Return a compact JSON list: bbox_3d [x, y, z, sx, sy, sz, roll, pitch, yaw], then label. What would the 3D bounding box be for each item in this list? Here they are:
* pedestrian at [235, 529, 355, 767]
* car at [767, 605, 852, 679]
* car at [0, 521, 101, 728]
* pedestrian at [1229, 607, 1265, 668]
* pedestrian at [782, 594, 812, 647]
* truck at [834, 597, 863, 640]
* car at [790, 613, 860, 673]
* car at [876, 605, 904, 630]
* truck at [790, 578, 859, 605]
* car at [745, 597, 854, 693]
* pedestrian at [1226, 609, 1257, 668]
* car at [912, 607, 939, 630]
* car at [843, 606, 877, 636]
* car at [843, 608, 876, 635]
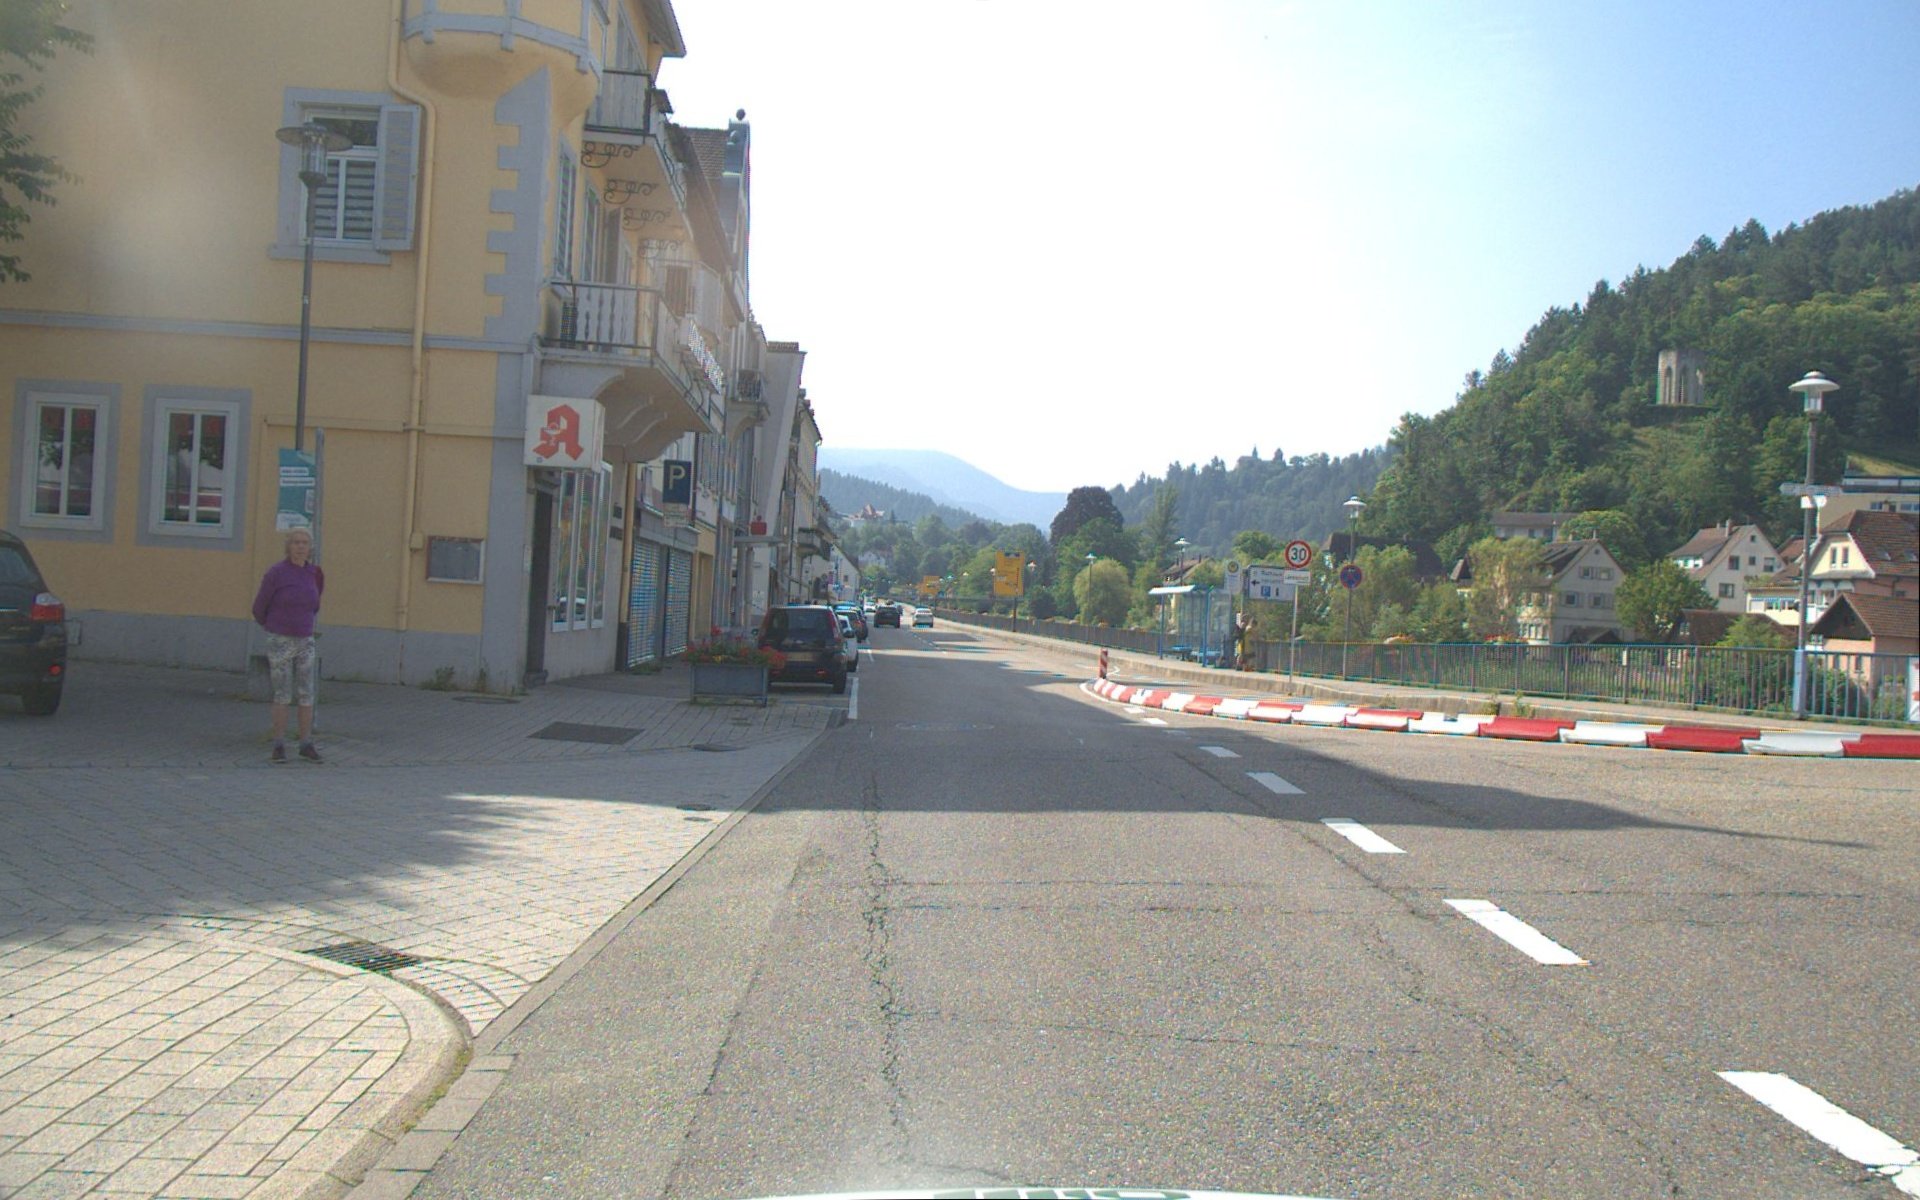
[{"bbox_3d":[-5.063,0.353,12.590,0.672,1.744,0.610,3,0,-34],"label":"pedestrian"},{"bbox_3d":[-3.232,0.875,35.950,1.713,1.473,3.273,2,0,-4],"label":"car"},{"bbox_3d":[-8.860,0.089,14.299,1.902,1.569,3.909,3,1,-37],"label":"car"},{"bbox_3d":[8.479,1.106,48.935,0.849,1.735,0.777,3,-1,-1],"label":"pedestrian"},{"bbox_3d":[-5.348,0.674,54.280,0.675,1.726,0.659,1,-1,24],"label":"pedestrian"},{"bbox_3d":[-6.896,1.125,102.249,1.713,2.511,4.657,2,0,-4],"label":"truck"},{"bbox_3d":[-3.573,1.121,44.057,1.713,1.473,3.791,2,0,-4],"label":"car"},{"bbox_3d":[-5.341,1.314,125.961,1.954,1.691,3.998,3,0,-3],"label":"car"},{"bbox_3d":[-18.539,-1.141,226.558,9.075,3.321,3.051,2,0,-30],"label":"truck"},{"bbox_3d":[-2.873,0.789,30.167,1.810,1.596,3.565,2,0,-4],"label":"car"},{"bbox_3d":[8.436,1.149,49.579,0.773,1.735,0.491,3,-1,-1],"label":"pedestrian"},{"bbox_3d":[-2.819,1.482,133.493,1.954,1.691,3.998,3,0,-3],"label":"car"},{"bbox_3d":[-5.193,1.057,85.743,1.713,1.473,3.273,2,0,-4],"label":"car"},{"bbox_3d":[-4.846,1.007,79.588,1.533,1.241,3.273,2,0,-4],"label":"car"}]
